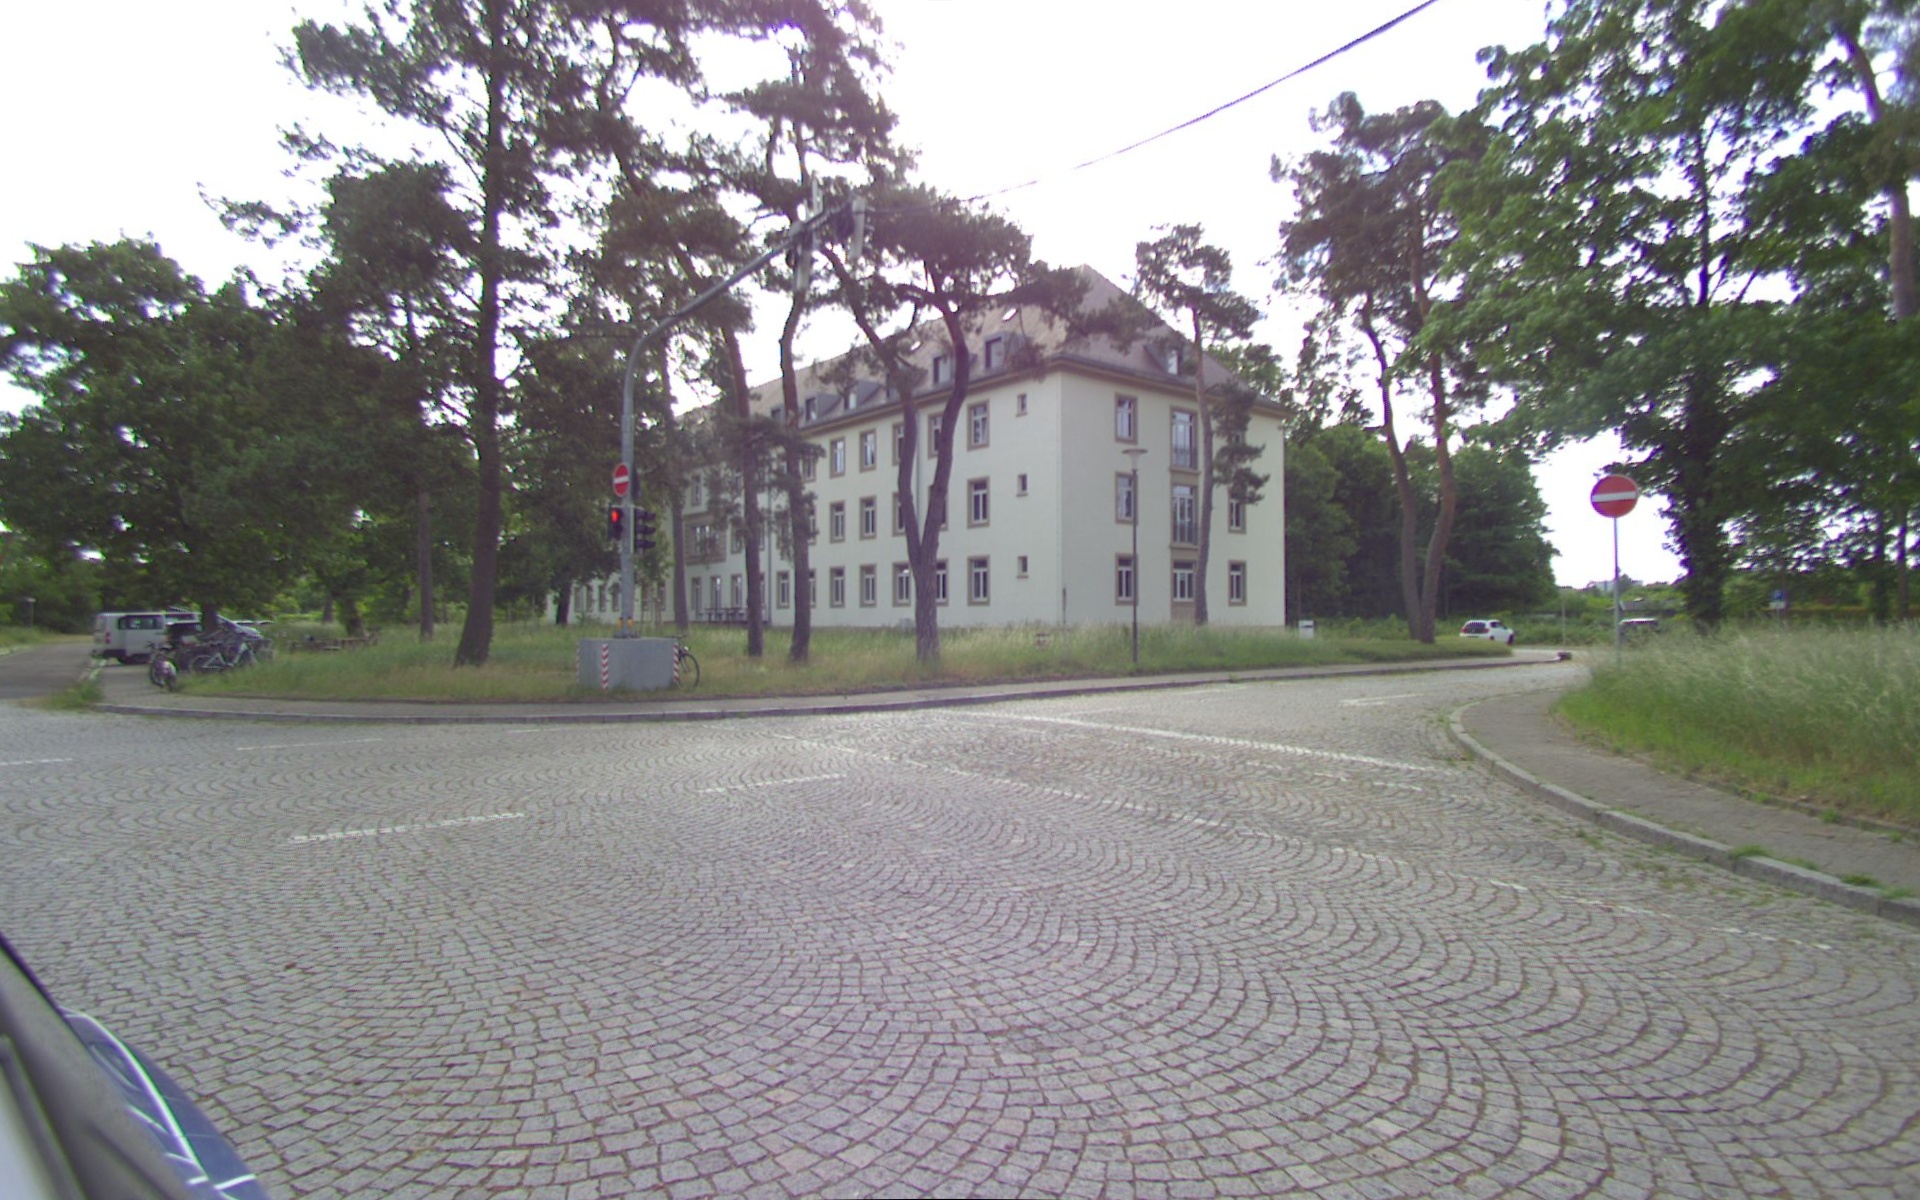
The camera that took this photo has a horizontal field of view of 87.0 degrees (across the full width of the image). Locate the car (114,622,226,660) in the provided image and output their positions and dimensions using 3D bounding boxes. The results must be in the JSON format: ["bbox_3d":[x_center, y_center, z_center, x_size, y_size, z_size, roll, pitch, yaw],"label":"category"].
[{"bbox_3d":[-38.621,1.951,49.529,1.859,1.733,4.036,1,0,42],"label":"car"}]

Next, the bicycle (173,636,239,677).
[{"bbox_3d":[-21.664,1.607,29.079,0.498,1.046,1.436,-1,1,45],"label":"bicycle"}]

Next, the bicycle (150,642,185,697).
[{"bbox_3d":[-16.949,1.472,21.640,0.490,1.082,1.419,-3,1,-40],"label":"bicycle"}]

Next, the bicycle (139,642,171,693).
[{"bbox_3d":[-18.117,1.497,22.758,0.490,1.046,1.419,-3,1,-40],"label":"bicycle"}]

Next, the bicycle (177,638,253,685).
[{"bbox_3d":[-18.574,1.527,25.237,0.498,1.046,1.436,-1,1,45],"label":"bicycle"}]

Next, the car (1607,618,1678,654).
[{"bbox_3d":[33.309,1.701,49.347,3.992,1.622,1.720,0,0,-38],"label":"car"}]

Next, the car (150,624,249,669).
[{"bbox_3d":[-27.230,1.642,36.251,2.730,1.426,1.594,-2,0,-41],"label":"car"}]

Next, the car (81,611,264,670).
[{"bbox_3d":[-29.797,1.484,38.468,2.032,1.931,5.108,-2,0,36],"label":"car"}]

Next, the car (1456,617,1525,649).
[{"bbox_3d":[29.112,1.789,55.506,3.991,1.622,1.721,0,0,-36],"label":"car"}]

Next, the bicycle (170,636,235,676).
[{"bbox_3d":[-22.033,1.629,29.450,0.498,1.046,1.436,-1,1,45],"label":"bicycle"}]

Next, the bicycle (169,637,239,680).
[{"bbox_3d":[-20.701,1.584,27.728,0.498,1.046,1.436,-1,1,45],"label":"bicycle"}]

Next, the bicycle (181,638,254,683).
[{"bbox_3d":[-19.139,1.553,26.116,0.498,1.046,1.436,-1,1,45],"label":"bicycle"}]

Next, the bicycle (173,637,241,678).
[{"bbox_3d":[-21.027,1.594,28.282,0.498,1.046,1.436,-1,1,45],"label":"bicycle"}]

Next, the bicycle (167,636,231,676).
[{"bbox_3d":[-22.379,1.641,29.780,0.498,1.046,1.436,-1,1,45],"label":"bicycle"}]

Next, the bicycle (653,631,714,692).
[{"bbox_3d":[-5.279,1.144,19.272,0.490,1.082,1.418,-3,1,-43],"label":"bicycle"}]

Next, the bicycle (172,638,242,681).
[{"bbox_3d":[-20.353,1.587,27.377,0.498,1.046,1.436,-1,1,45],"label":"bicycle"}]

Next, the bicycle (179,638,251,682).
[{"bbox_3d":[-19.535,1.555,26.548,0.498,1.046,1.436,-1,1,45],"label":"bicycle"}]

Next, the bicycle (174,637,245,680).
[{"bbox_3d":[-20.029,1.551,27.037,0.498,1.046,1.436,-1,1,45],"label":"bicycle"}]

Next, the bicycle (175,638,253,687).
[{"bbox_3d":[-18.111,1.498,24.585,0.498,1.046,1.437,-1,1,42],"label":"bicycle"}]
